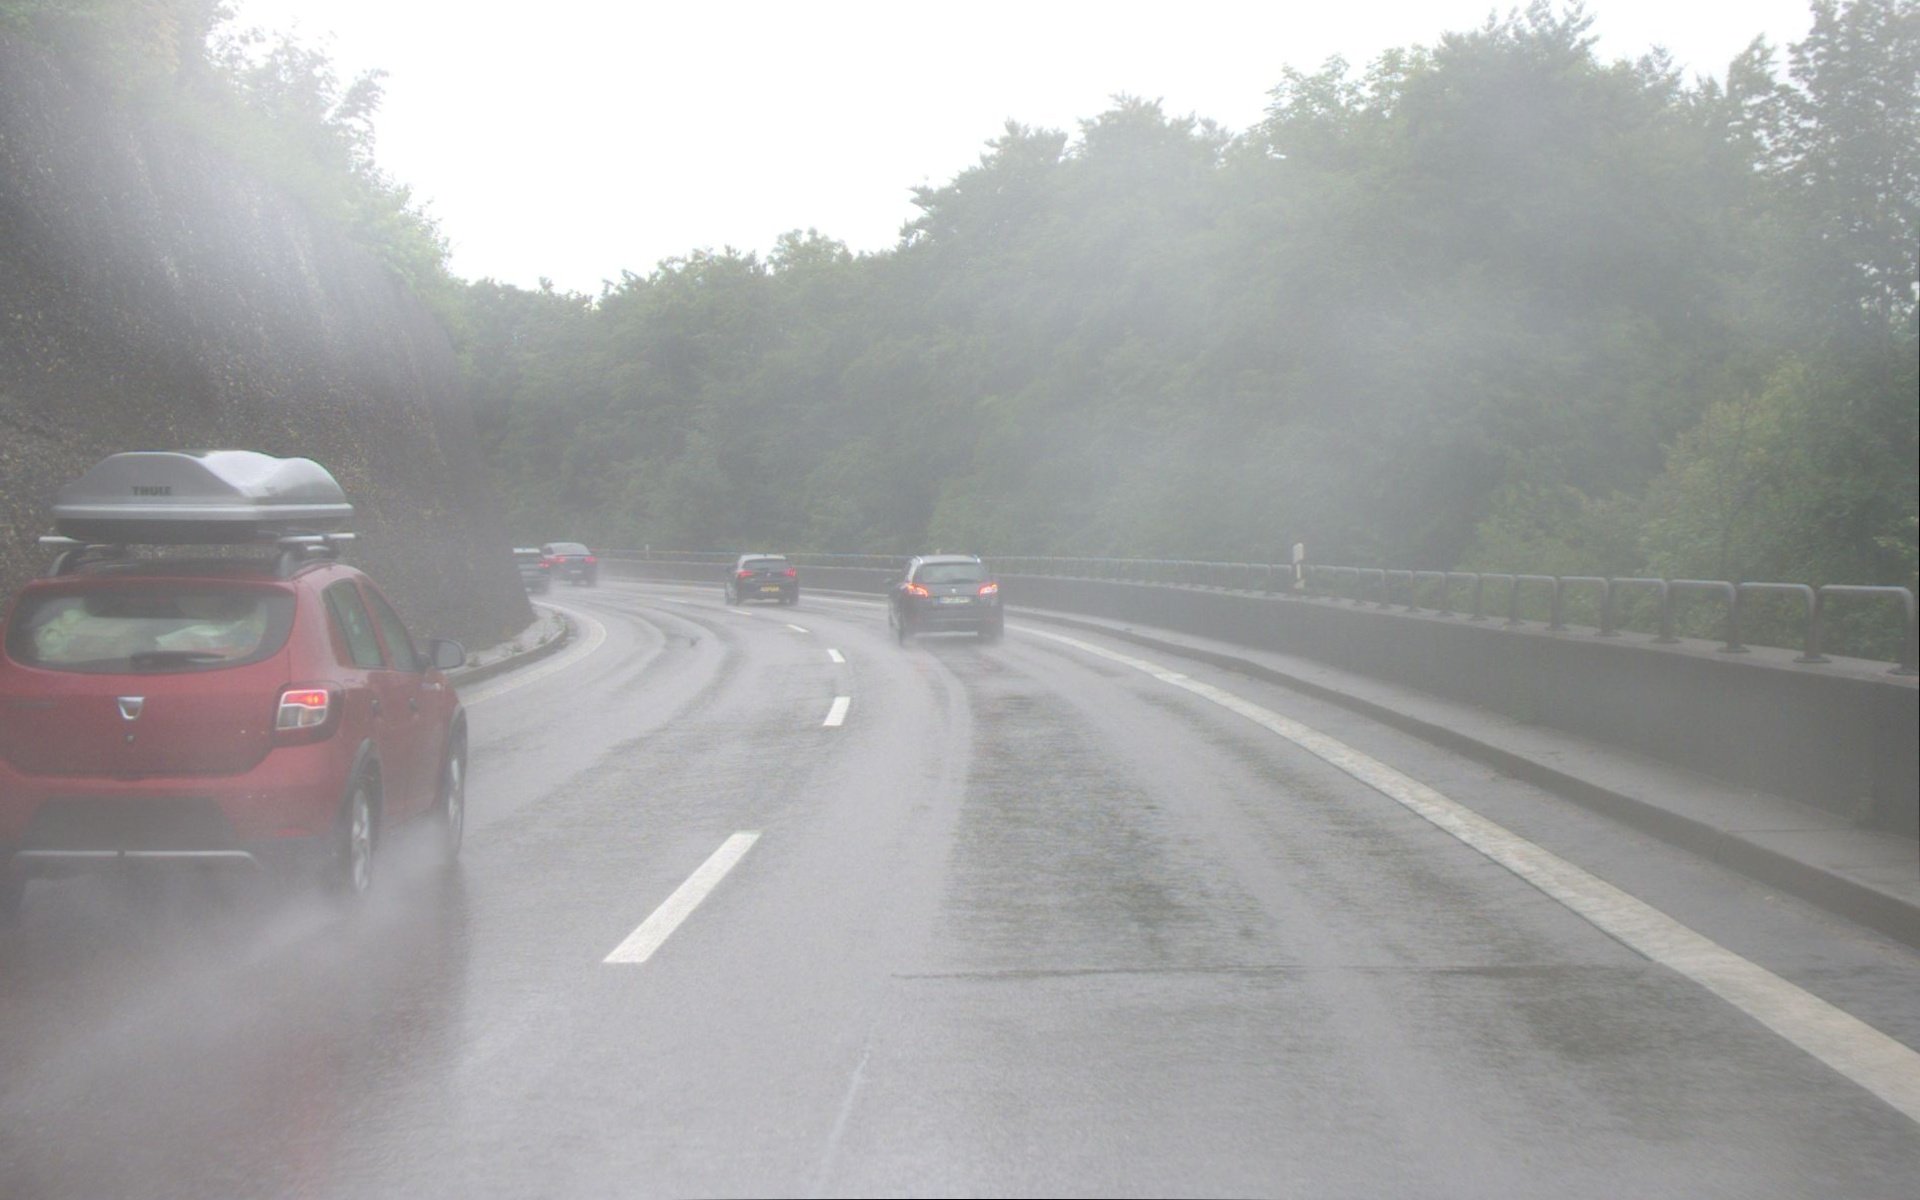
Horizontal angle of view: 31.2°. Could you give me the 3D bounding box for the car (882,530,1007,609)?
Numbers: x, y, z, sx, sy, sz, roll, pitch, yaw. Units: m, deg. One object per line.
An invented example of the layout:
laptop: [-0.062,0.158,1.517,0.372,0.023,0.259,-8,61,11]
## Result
car: [-0.302,-0.534,59.091,1.800,1.303,4.001,-1,1,-5]

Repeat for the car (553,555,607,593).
car: [-15.069,-1.040,136.110,1.800,1.462,4.001,-1,1,-11]

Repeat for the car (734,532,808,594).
car: [-5.415,-1.050,98.120,1.993,1.744,4.001,0,0,-5]

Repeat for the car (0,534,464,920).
car: [-3.490,0.485,15.911,1.993,1.546,4.001,-1,1,-3]

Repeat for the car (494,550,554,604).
car: [-15.539,-0.822,122.756,1.993,1.897,4.001,0,0,-5]
